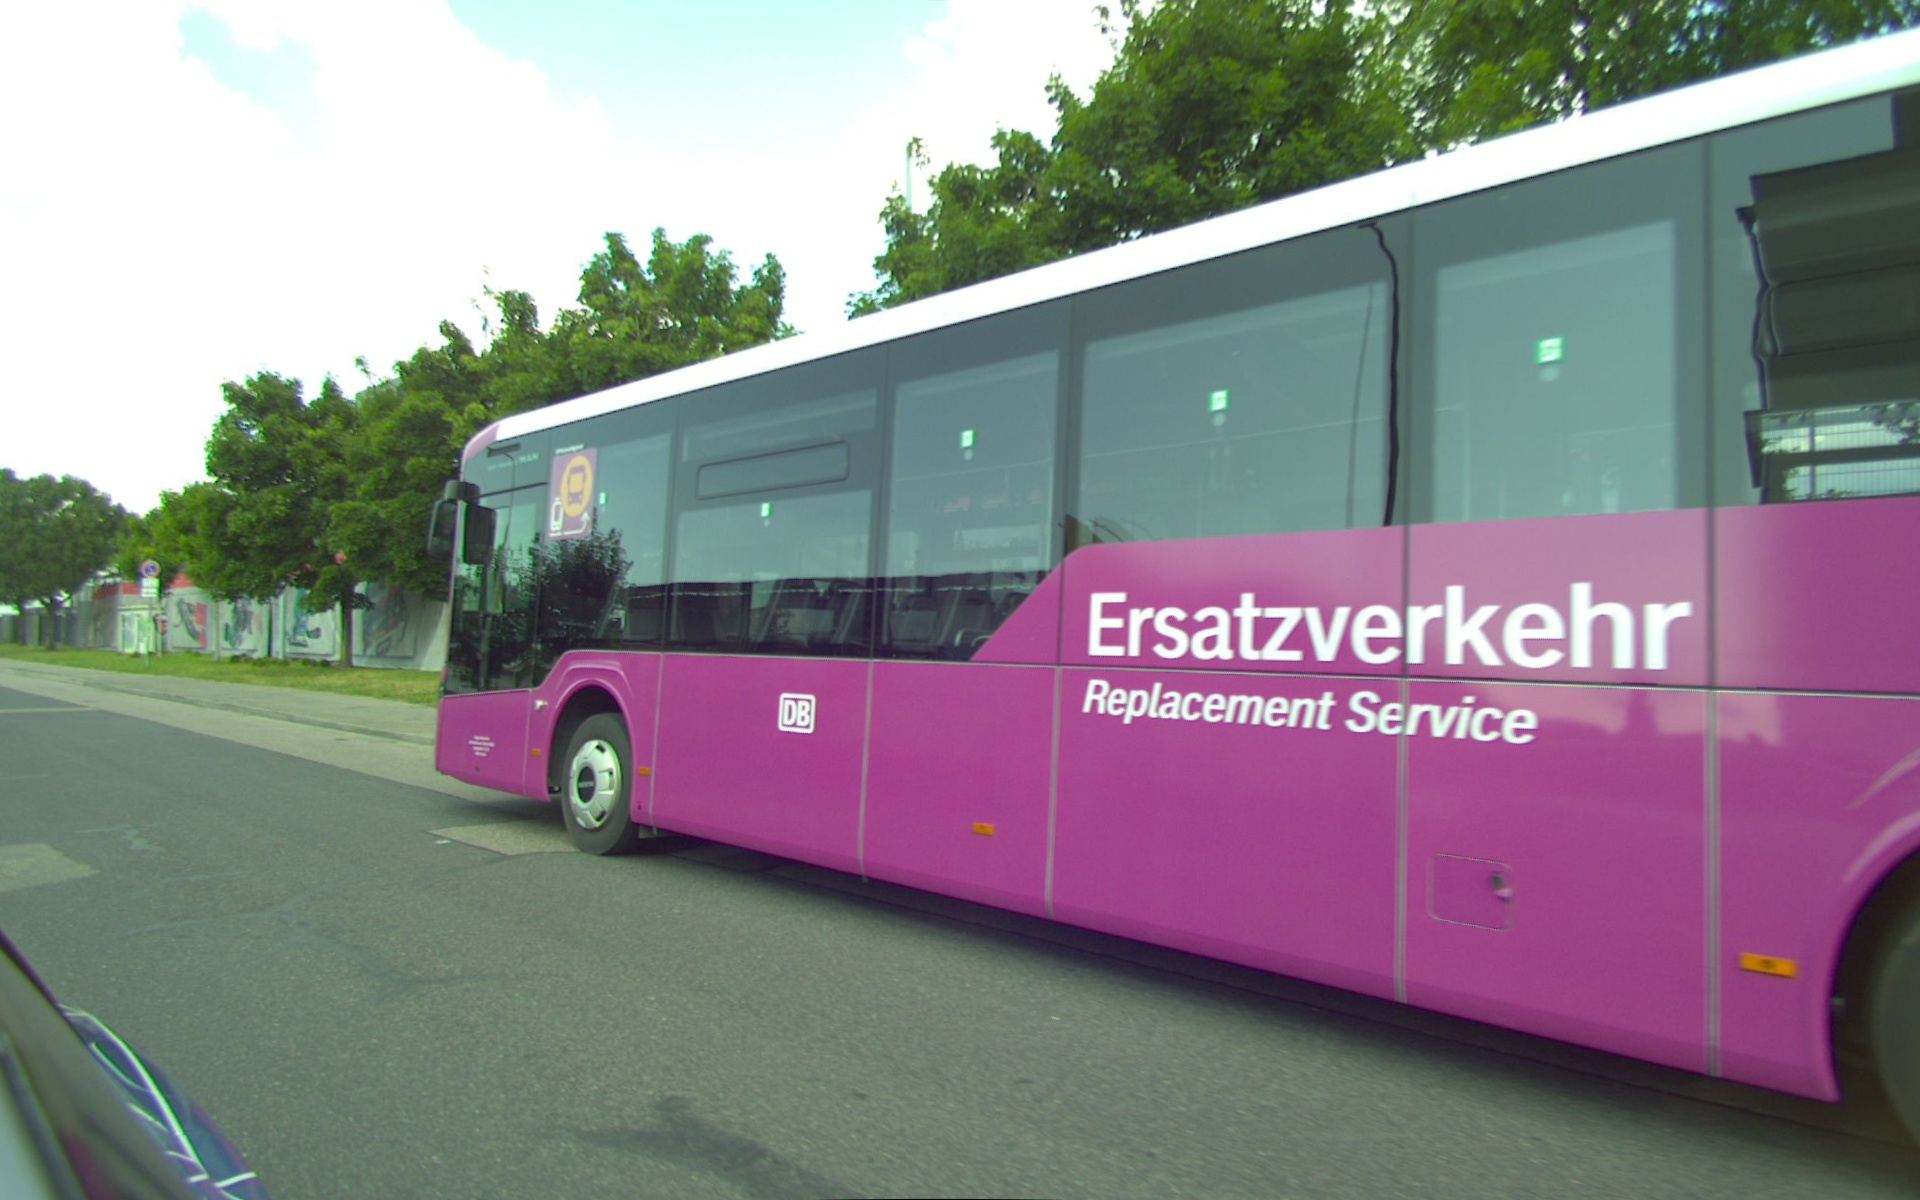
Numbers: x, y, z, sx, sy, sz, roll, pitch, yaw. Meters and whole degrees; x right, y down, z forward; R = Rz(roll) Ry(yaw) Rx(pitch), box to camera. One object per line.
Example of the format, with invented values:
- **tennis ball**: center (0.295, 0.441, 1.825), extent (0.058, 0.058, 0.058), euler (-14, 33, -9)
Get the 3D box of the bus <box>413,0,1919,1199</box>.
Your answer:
- **bus**: center (1.355, -0.036, 5.223), extent (13.210, 3.449, 2.635), euler (-2, -6, 41)
